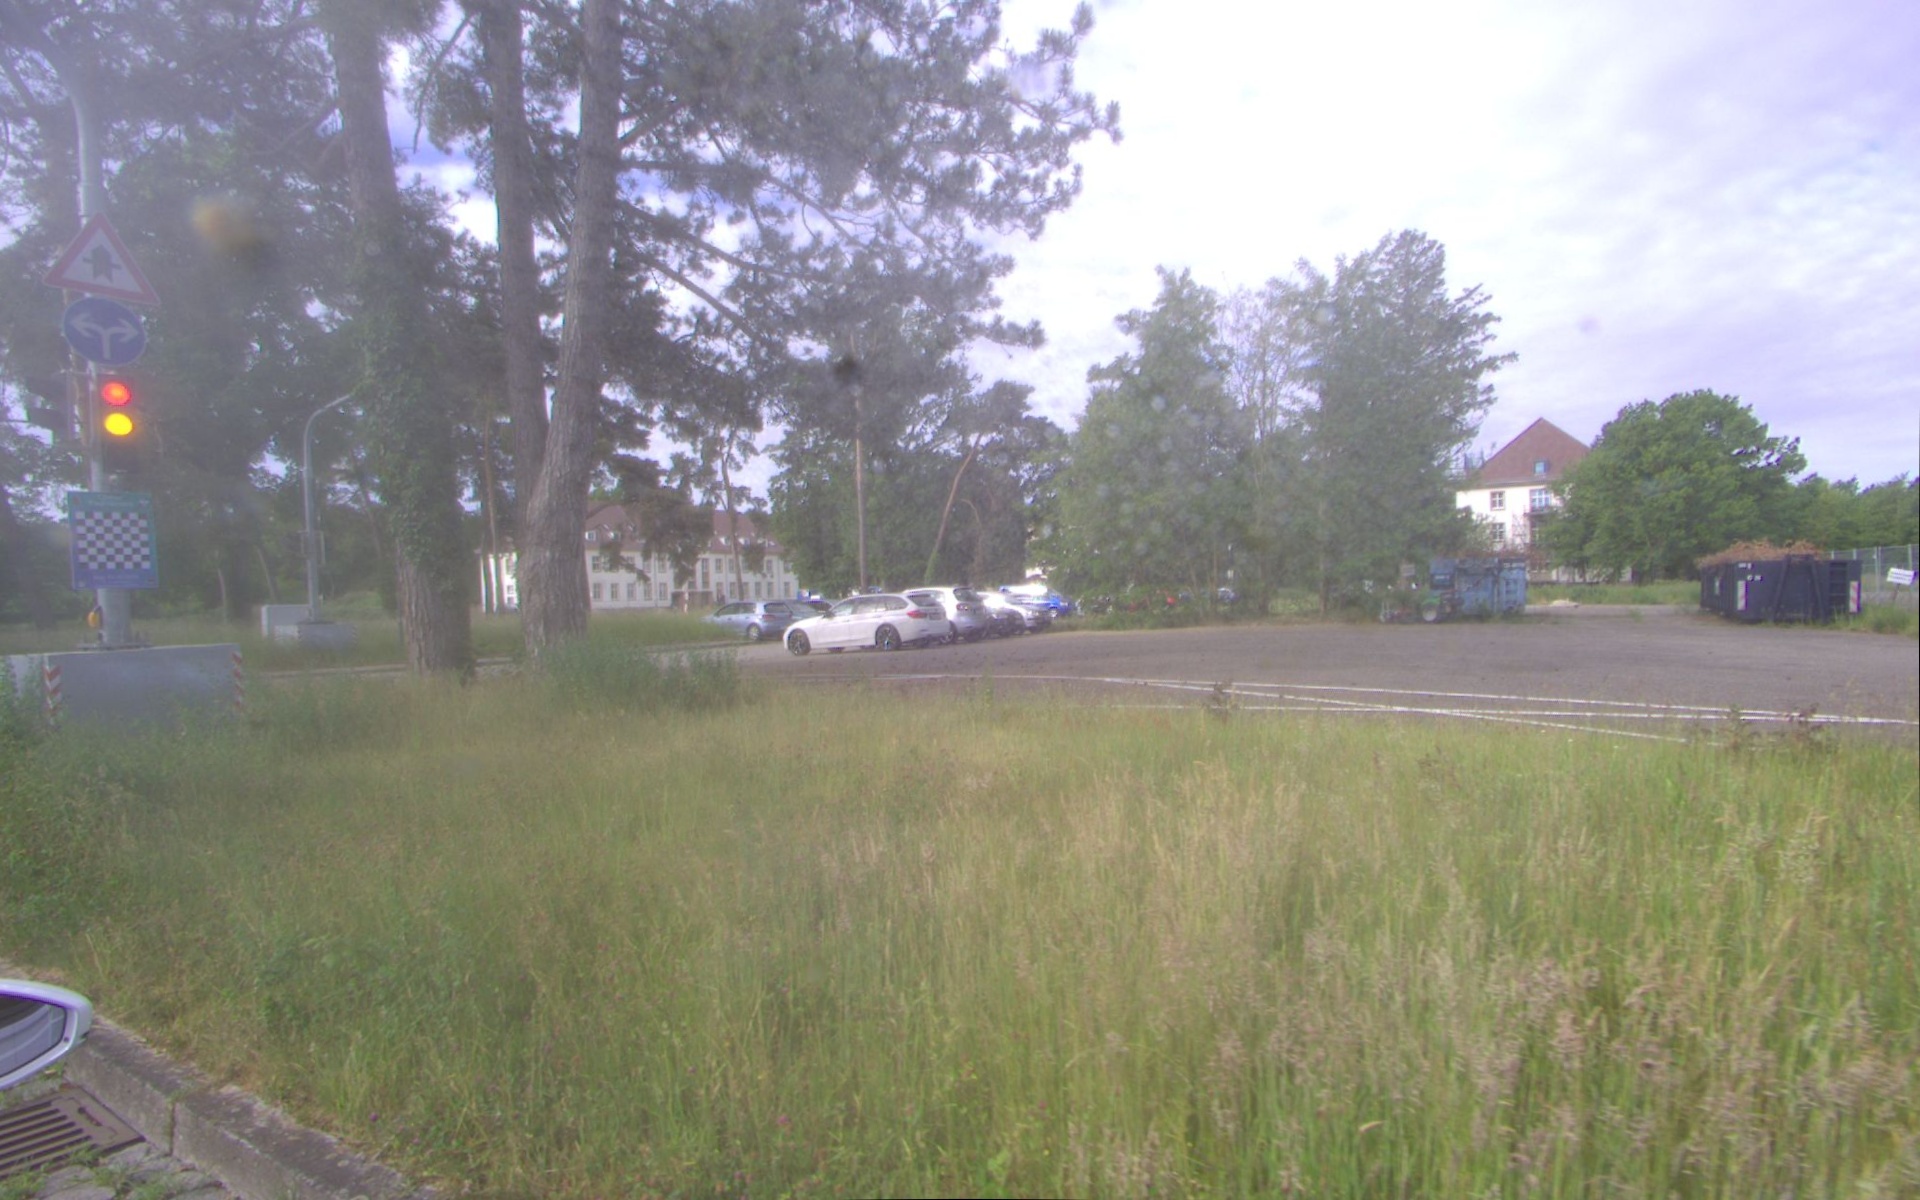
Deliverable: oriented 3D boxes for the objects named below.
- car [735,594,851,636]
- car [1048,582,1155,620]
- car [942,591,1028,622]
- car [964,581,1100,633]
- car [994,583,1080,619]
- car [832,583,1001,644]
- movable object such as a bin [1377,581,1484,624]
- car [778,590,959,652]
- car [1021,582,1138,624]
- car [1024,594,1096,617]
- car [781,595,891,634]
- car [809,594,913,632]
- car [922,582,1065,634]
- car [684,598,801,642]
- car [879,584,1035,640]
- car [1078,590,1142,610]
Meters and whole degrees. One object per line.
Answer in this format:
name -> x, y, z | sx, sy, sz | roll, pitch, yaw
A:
car -> -6.640, 0.600, 39.790 | 4.379, 1.544, 1.750 | -1, 1, 28
car -> 6.332, 0.056, 44.897 | 4.380, 1.598, 1.864 | -1, 1, 29
car -> 1.353, 0.362, 54.384 | 4.380, 1.544, 1.750 | -1, 1, 29
car -> 2.515, 0.253, 35.101 | 4.380, 1.709, 1.864 | -1, 1, 29
car -> 4.415, 0.057, 57.531 | 4.586, 1.994, 1.750 | -1, 1, 29
car -> -1.244, 0.383, 27.993 | 4.380, 1.598, 1.864 | -1, 1, 29
movable object such as a bin -> 12.564, 0.057, 26.767 | 2.505, 1.098, 1.060 | 0, 2, 31
car -> -2.364, 0.539, 25.655 | 4.380, 1.434, 1.750 | -2, 1, 29
car -> 4.871, 0.142, 40.982 | 4.380, 1.598, 1.864 | -1, 1, 29
car -> 5.951, 0.333, 59.760 | 3.942, 1.225, 1.654 | -2, 0, 31
car -> -5.214, 0.614, 42.034 | 4.380, 1.544, 1.750 | -1, 1, 29
car -> -4.418, 0.584, 44.427 | 4.380, 1.544, 1.750 | -1, 1, 29
car -> 1.092, 0.280, 33.129 | 4.380, 1.598, 1.864 | -1, 1, 29
car -> -8.278, 0.745, 37.947 | 4.386, 1.545, 1.747 | -1, 1, 34
car -> -0.117, 0.374, 30.436 | 4.380, 1.598, 1.864 | -1, 1, 29
car -> 10.112, -0.023, 67.563 | 3.934, 1.226, 1.657 | -1, 1, 24
